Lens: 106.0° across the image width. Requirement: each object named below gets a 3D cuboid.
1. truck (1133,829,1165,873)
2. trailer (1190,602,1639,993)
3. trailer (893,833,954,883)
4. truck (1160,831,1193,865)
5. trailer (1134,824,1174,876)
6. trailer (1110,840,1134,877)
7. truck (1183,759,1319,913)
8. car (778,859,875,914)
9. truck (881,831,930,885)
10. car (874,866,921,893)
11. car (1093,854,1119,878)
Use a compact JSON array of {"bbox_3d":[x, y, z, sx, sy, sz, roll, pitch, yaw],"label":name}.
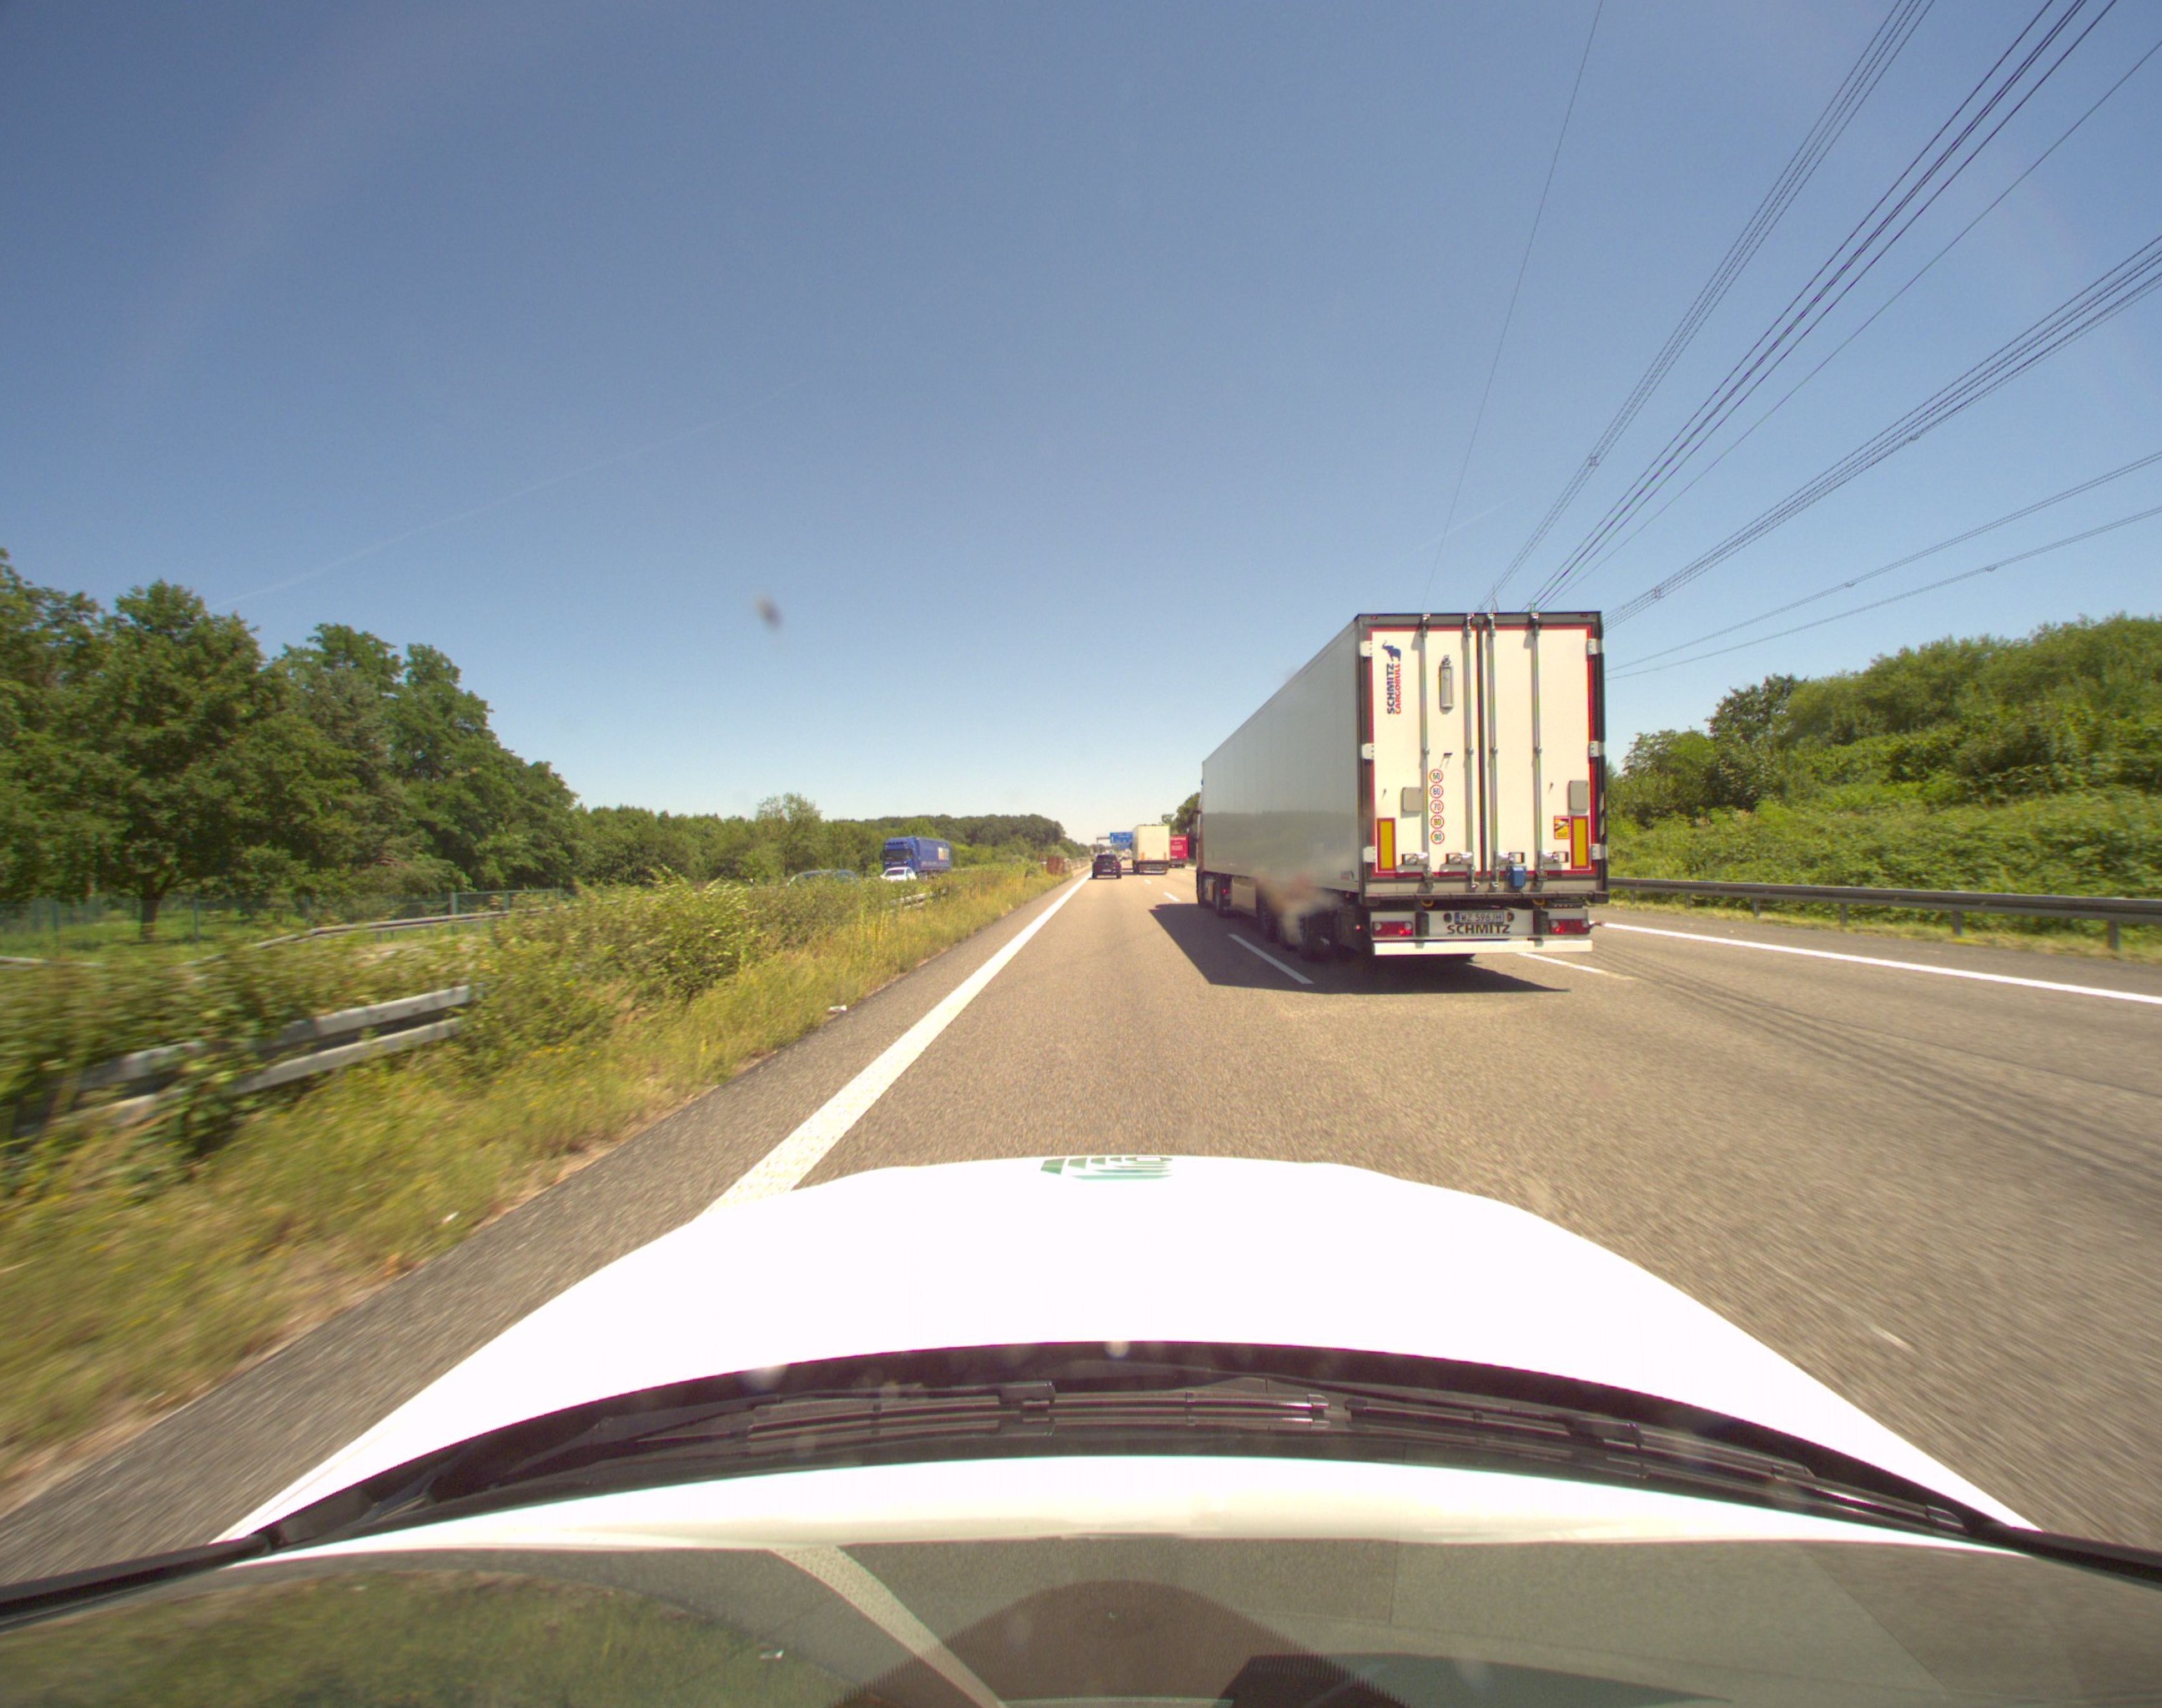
[{"bbox_3d":[6.504,-0.243,78.247,2.789,4.007,6.024,-1,0,2],"label":"truck"},{"bbox_3d":[4.520,-0.532,16.514,2.926,4.018,16.206,0,0,2],"label":"trailer"},{"bbox_3d":[-14.504,0.347,76.271,2.463,4.131,13.470,-4,0,1],"label":"trailer"},{"bbox_3d":[12.079,-0.648,104.333,3.044,4.106,13.223,0,0,2],"label":"truck"},{"bbox_3d":[6.161,-0.308,70.358,2.784,4.035,12.575,-1,0,2],"label":"trailer"},{"bbox_3d":[5.058,0.609,99.337,2.696,4.068,14.757,-1,-1,3],"label":"trailer"},{"bbox_3d":[4.786,-0.443,24.188,2.930,3.986,6.104,0,0,2],"label":"truck"},{"bbox_3d":[-8.305,1.012,26.958,1.806,1.601,4.002,-3,0,2],"label":"car"},{"bbox_3d":[-14.719,0.330,68.673,2.457,4.133,5.686,-4,0,2],"label":"truck"},{"bbox_3d":[-11.381,1.558,50.818,1.800,1.449,4.002,-3,0,2],"label":"car"},{"bbox_3d":[1.724,0.830,56.020,1.654,1.549,3.785,-2,0,2],"label":"car"}]
